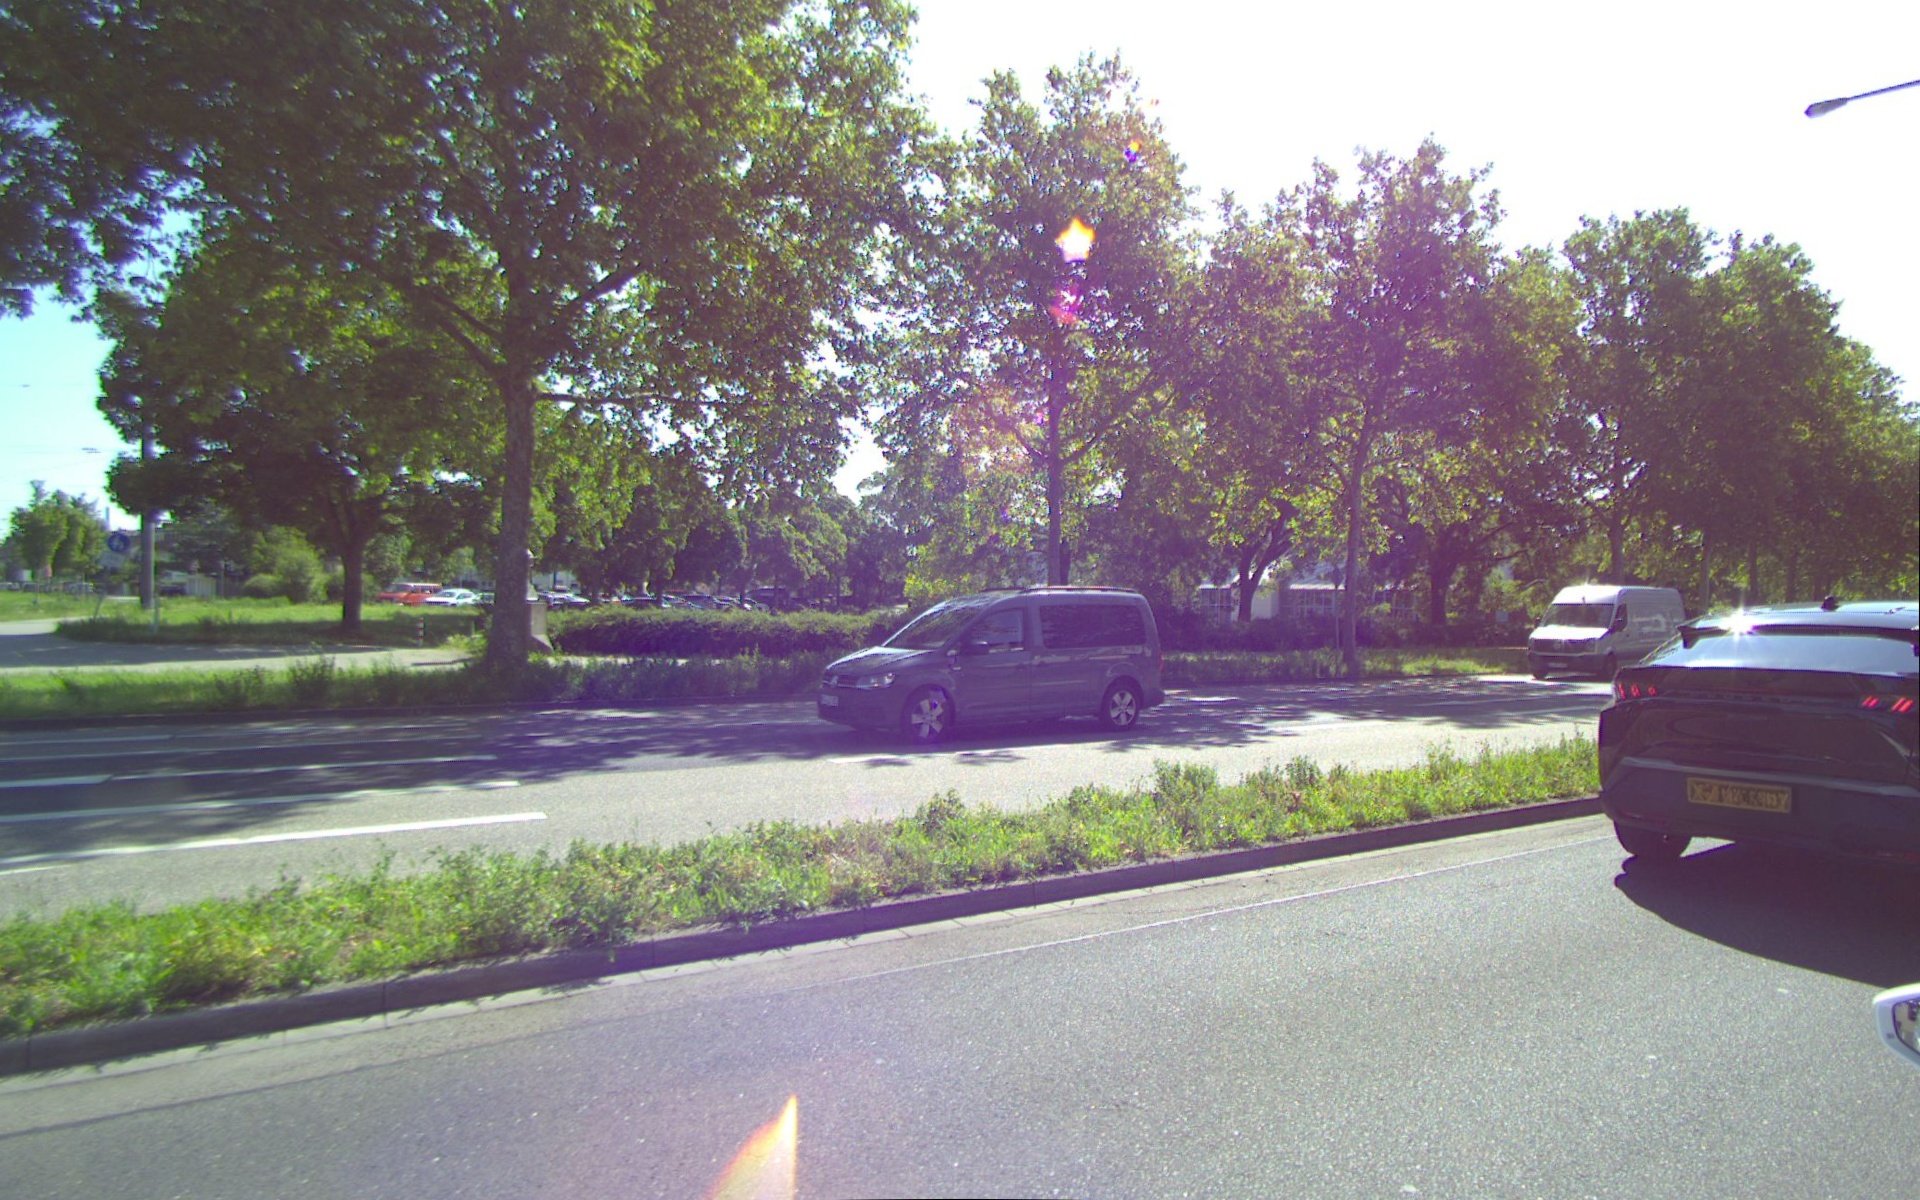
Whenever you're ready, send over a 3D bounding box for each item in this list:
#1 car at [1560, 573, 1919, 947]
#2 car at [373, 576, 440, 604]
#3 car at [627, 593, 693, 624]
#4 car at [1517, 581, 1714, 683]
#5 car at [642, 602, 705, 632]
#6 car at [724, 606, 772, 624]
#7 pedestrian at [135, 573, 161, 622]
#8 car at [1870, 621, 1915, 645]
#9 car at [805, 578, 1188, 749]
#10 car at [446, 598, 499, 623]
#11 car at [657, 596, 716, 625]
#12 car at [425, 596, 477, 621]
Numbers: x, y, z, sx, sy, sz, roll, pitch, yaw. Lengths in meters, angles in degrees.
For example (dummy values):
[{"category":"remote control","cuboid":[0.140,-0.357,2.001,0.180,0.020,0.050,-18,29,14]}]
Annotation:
[{"category":"car","cuboid":[5.939,0.791,6.371,4.385,1.718,1.862,1,-1,-32]},{"category":"car","cuboid":[-34.736,-0.598,63.194,1.778,1.725,3.989,1,0,4]},{"category":"car","cuboid":[-20.346,0.569,68.304,3.922,2.040,1.817,1,0,-1]},{"category":"car","cuboid":[19.057,0.916,29.059,7.138,2.648,2.049,1,-1,-33]},{"category":"car","cuboid":[-20.215,1.197,71.015,3.922,2.040,1.817,1,0,-1]},{"category":"car","cuboid":[-18.537,1.303,87.969,3.924,1.511,1.816,1,0,-4]},{"category":"pedestrian","cuboid":[-34.356,-0.088,42.515,0.703,2.040,0.790,0,0,-27]},{"category":"car","cuboid":[65.008,2.275,70.021,4.359,1.576,1.780,1,-1,-40]},{"category":"car","cuboid":[0.591,0.727,13.045,4.941,1.863,1.676,1,-1,-33]},{"category":"car","cuboid":[-29.524,0.635,60.937,1.419,1.466,3.343,1,0,4]},{"category":"car","cuboid":[-20.255,0.775,74.515,3.922,2.040,1.817,1,0,-1]},{"category":"car","cuboid":[-31.775,0.528,62.816,1.322,1.466,3.343,1,0,4]}]
